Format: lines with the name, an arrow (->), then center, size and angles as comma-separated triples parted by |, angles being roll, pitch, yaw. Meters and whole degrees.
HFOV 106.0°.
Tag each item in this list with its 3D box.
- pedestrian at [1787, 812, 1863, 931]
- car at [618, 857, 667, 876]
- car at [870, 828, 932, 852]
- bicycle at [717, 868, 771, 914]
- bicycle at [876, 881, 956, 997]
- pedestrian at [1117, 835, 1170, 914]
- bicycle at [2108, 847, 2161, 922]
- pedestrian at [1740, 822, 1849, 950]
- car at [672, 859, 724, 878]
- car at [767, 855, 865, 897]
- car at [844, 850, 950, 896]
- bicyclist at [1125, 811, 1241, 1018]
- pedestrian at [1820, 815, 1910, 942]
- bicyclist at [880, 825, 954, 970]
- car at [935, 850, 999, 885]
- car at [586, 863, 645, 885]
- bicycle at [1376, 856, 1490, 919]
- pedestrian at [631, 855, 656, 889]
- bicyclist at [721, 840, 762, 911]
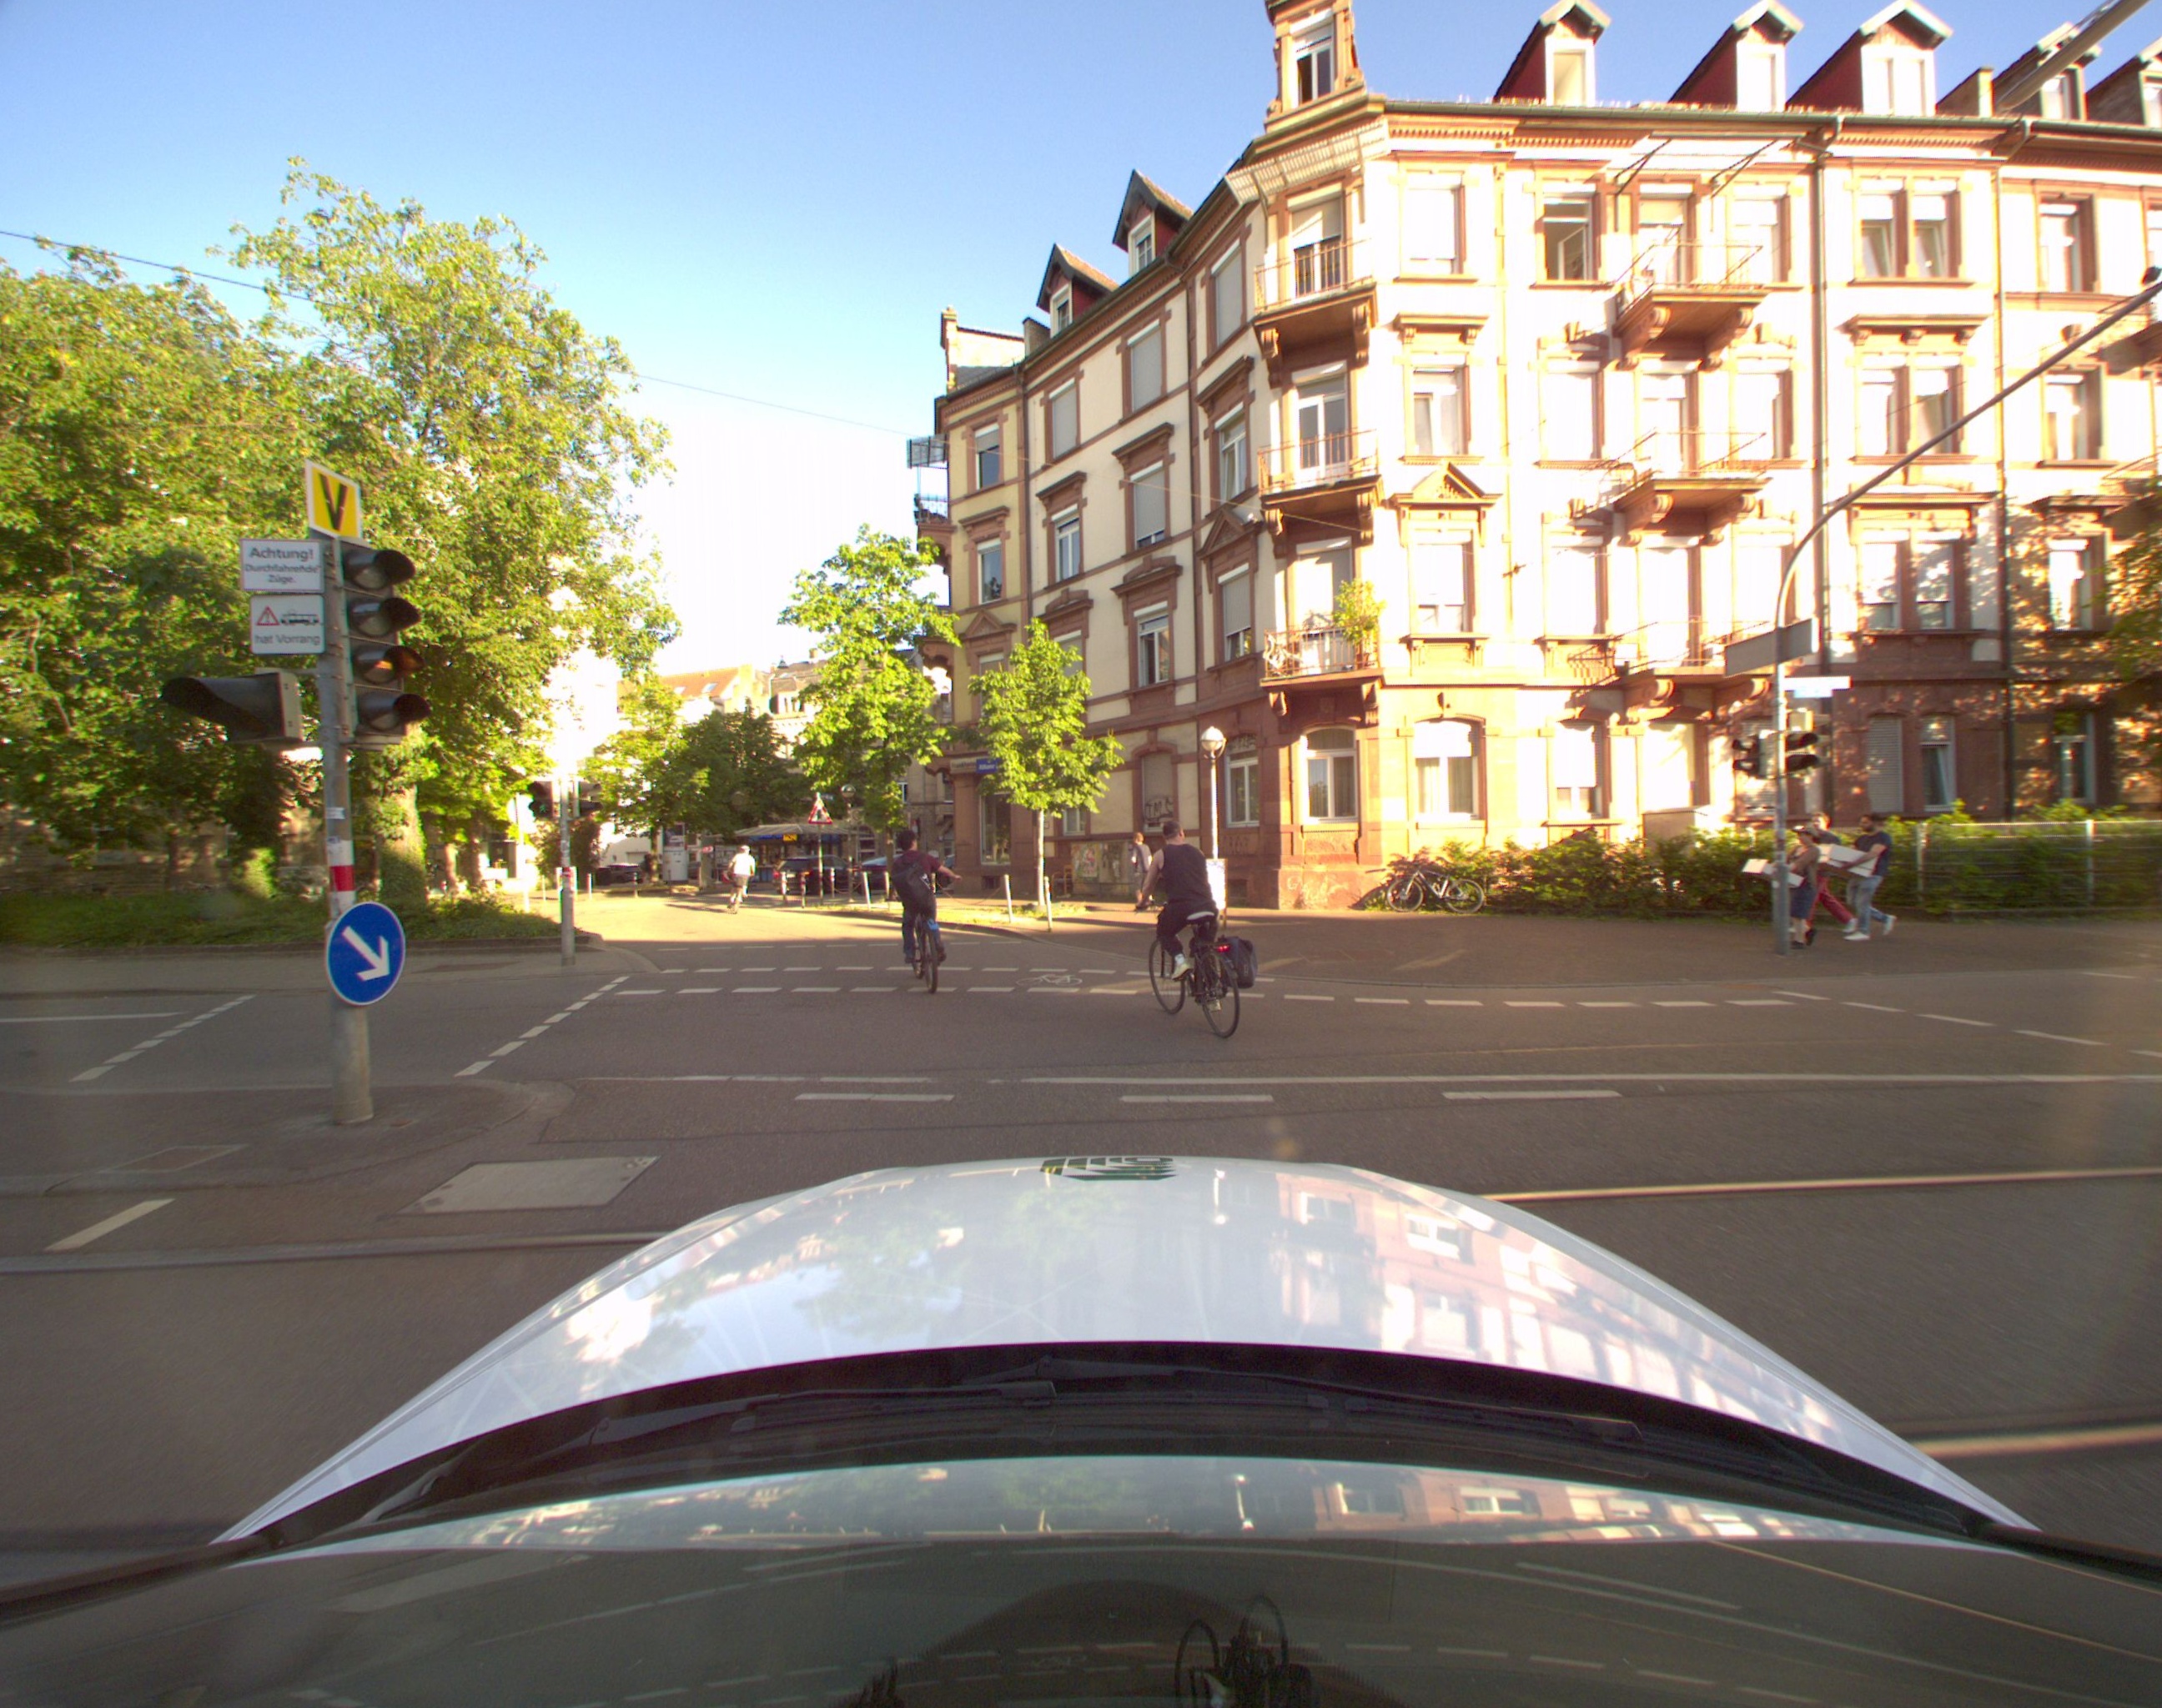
pedestrian -> 10.982, 0.258, 12.034 | 0.630, 1.715, 0.523 | -1, 0, 11
car -> -35.252, 0.992, 65.457 | 3.529, 1.499, 1.681 | -1, -1, 23
car -> -12.950, -0.980, 58.609 | 3.953, 1.647, 1.889 | -1, 0, 21
bicycle -> -9.285, 0.982, 22.384 | 0.816, 1.185, 2.201 | -1, 0, -38
bicycle -> -1.870, 0.920, 9.495 | 0.716, 1.107, 1.962 | -1, 0, -6
pedestrian -> 1.346, 0.418, 17.584 | 0.728, 1.634, 0.895 | -2, 2, -34
bicycle -> 16.492, 0.449, 12.347 | 1.224, 1.107, 0.443 | -2, 1, 3
pedestrian -> 9.661, 0.416, 11.062 | 0.889, 1.664, 0.715 | -1, 3, 15
car -> -30.032, 1.151, 63.899 | 3.530, 1.499, 1.680 | -1, -1, 21
car -> -10.426, 0.824, 32.314 | 1.775, 1.542, 3.877 | -1, 0, 17
car -> -7.018, 0.688, 31.613 | 1.776, 1.611, 4.393 | -1, 0, 22
bicyclist -> 0.861, 0.490, 7.124 | 0.686, 1.656, 0.986 | -2, -1, -10
pedestrian -> 10.954, 0.332, 11.397 | 0.630, 1.715, 0.666 | -1, 0, 11
bicyclist -> -1.870, 0.474, 9.399 | 0.706, 1.573, 0.955 | -1, 0, -6
car -> -5.026, 0.595, 36.361 | 1.488, 1.457, 3.223 | -1, 0, 19
car -> -32.115, 1.377, 56.178 | 3.530, 1.499, 1.680 | -1, -1, 21
bicycle -> 6.717, 0.616, 15.584 | 1.941, 1.107, 0.446 | 1, 1, 31
pedestrian -> -23.105, 0.935, 42.974 | 0.874, 1.750, 0.720 | -1, 0, 19
bicyclist -> -9.343, 0.575, 22.398 | 0.801, 1.913, 0.934 | 0, 0, -38
